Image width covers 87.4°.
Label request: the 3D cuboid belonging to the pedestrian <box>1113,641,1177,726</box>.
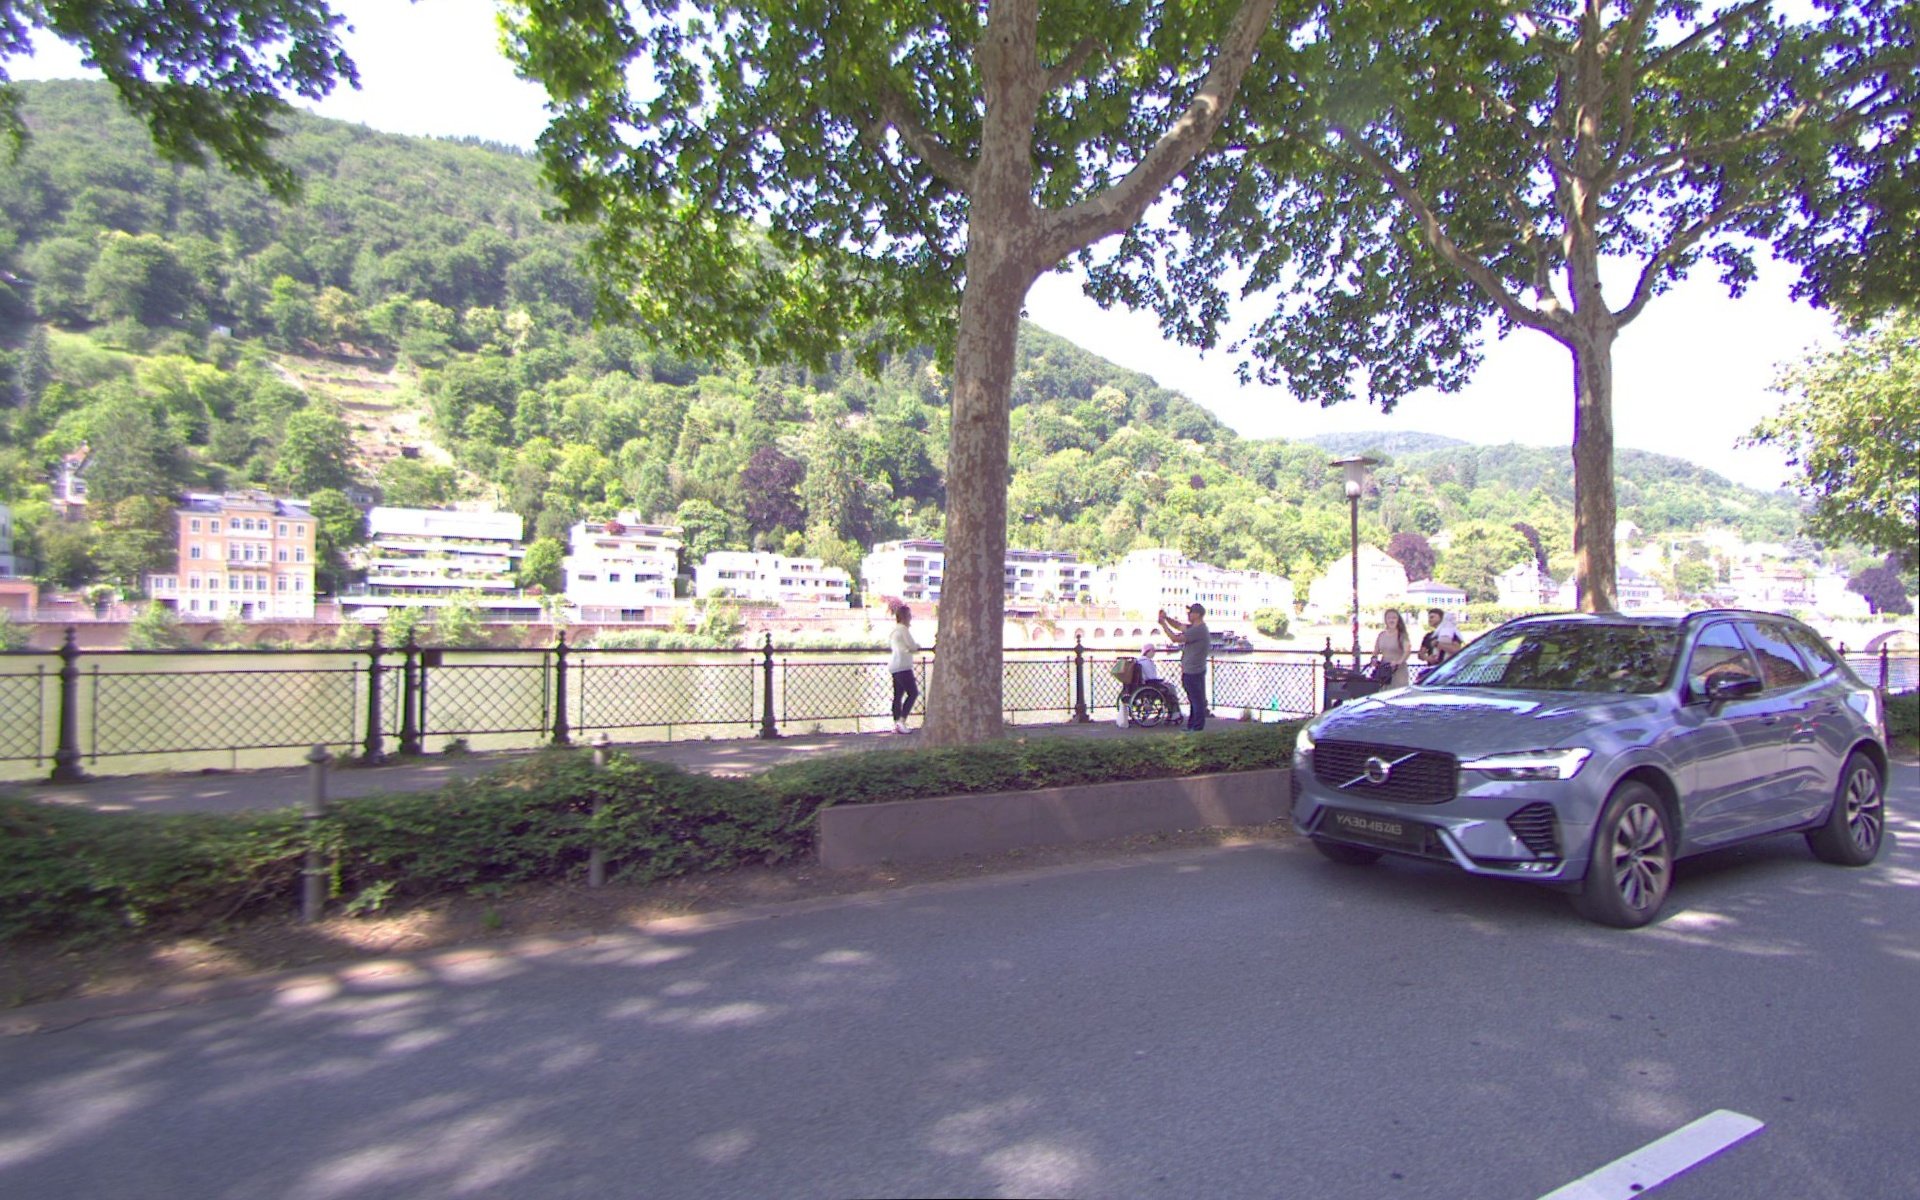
[{"bbox_3d":[2.688,1.191,14.603,0.687,1.193,0.607,1,-2,-29],"label":"pedestrian"}]

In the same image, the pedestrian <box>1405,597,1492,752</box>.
[{"bbox_3d":[6.216,0.932,12.794,0.796,1.894,0.638,1,-2,-30],"label":"pedestrian"}]

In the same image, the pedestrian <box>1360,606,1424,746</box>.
[{"bbox_3d":[5.661,0.982,13.174,0.585,1.791,0.514,1,-2,-30],"label":"pedestrian"}]

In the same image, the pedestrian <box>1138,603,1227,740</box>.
[{"bbox_3d":[2.950,0.926,13.350,0.864,1.740,0.689,2,1,-32],"label":"pedestrian"}]

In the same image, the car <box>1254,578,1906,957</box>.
[{"bbox_3d":[4.094,0.864,6.499,4.210,1.720,1.868,2,-3,-31],"label":"car"}]
